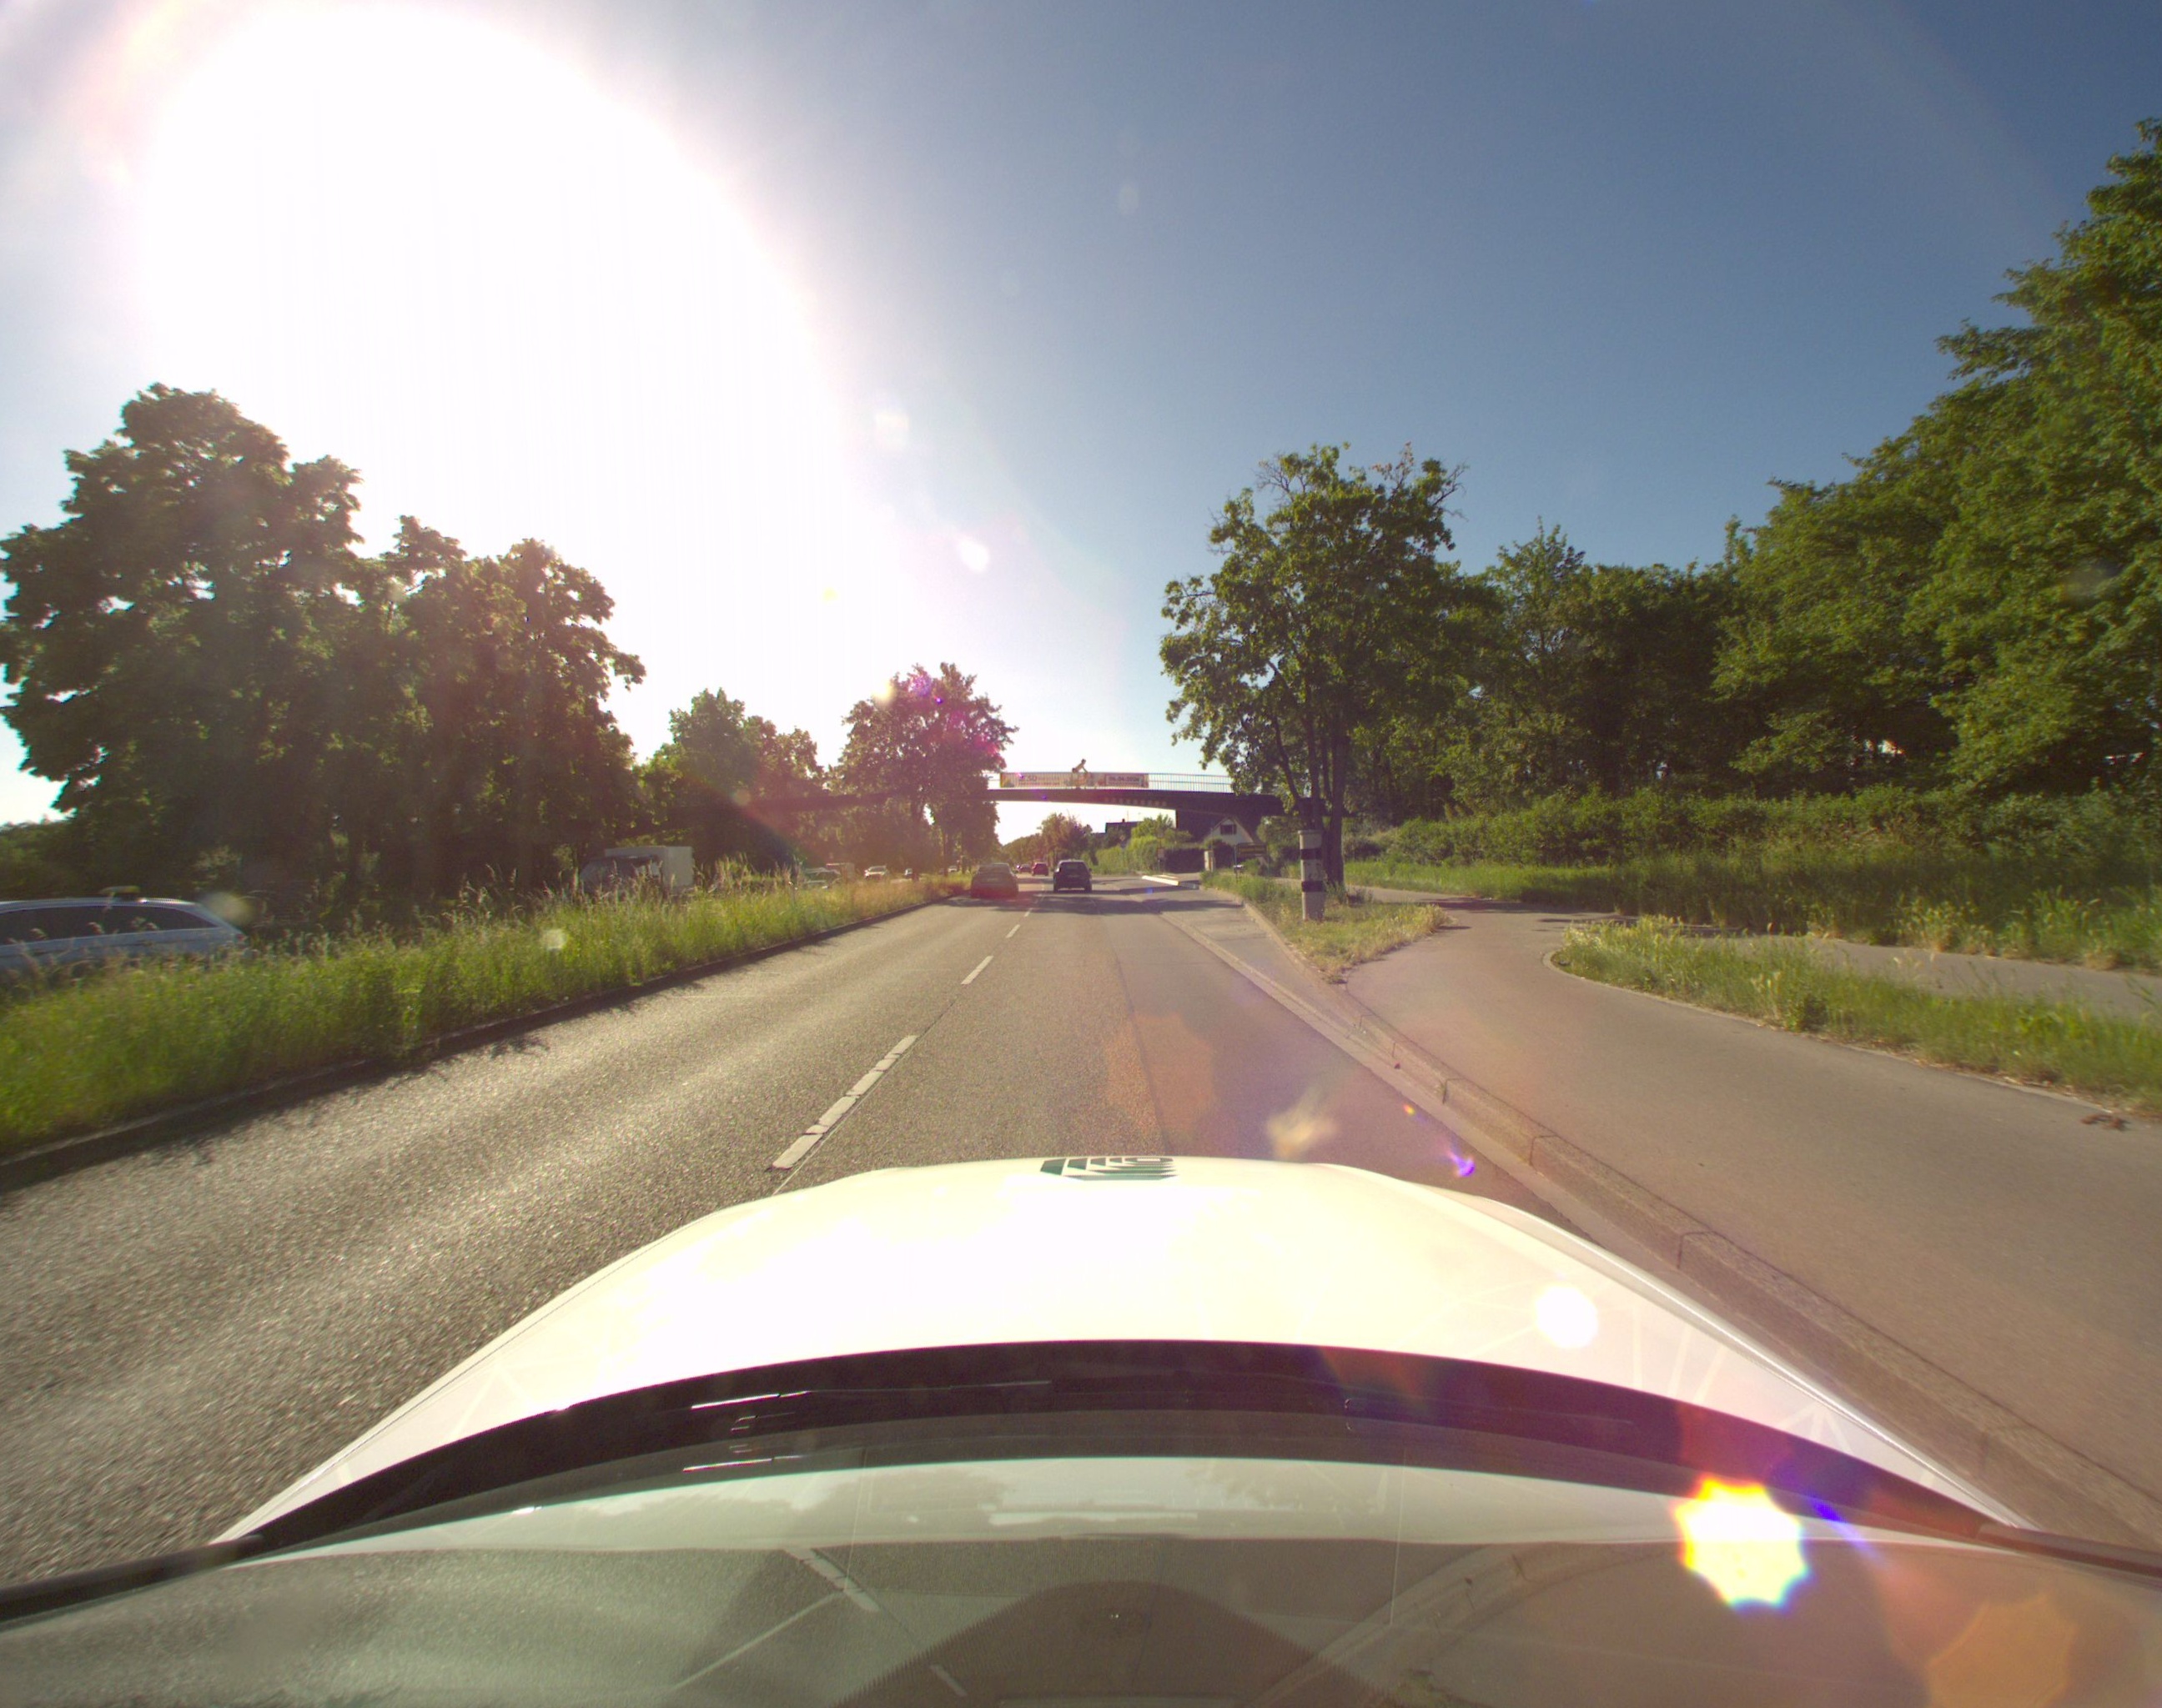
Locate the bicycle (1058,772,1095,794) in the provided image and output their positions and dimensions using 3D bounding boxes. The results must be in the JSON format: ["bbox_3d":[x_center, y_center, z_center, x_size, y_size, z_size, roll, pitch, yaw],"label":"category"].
[{"bbox_3d":[-0.238,-3.864,44.352,1.984,1.107,0.726,0,0,-4],"label":"bicycle"}]

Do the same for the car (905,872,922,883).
[{"bbox_3d":[-22.593,3.149,109.971,1.537,1.431,4.250,-3,0,-4],"label":"car"}]

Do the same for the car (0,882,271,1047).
[{"bbox_3d":[-12.045,1.229,8.299,1.850,1.606,5.575,-3,0,1],"label":"car"}]

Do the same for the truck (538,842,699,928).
[{"bbox_3d":[-15.698,0.964,28.130,2.166,2.512,5.740,-4,0,-1],"label":"truck"}]

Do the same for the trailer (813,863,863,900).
[{"bbox_3d":[-13.435,1.465,45.337,1.558,1.910,4.279,-2,0,-2],"label":"trailer"}]

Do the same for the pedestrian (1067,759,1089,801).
[{"bbox_3d":[-0.160,-4.025,44.389,1.064,2.124,0.995,-2,-1,-4],"label":"pedestrian"}]

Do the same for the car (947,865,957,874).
[{"bbox_3d":[-23.609,2.788,149.103,1.729,1.632,4.187,-3,-1,-7],"label":"car"}]

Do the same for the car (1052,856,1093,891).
[{"bbox_3d":[-0.447,0.931,38.195,1.756,1.559,3.995,0,-1,-3],"label":"car"}]

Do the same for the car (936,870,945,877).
[{"bbox_3d":[-32.723,4.593,189.808,1.806,1.500,4.578,-2,0,-11],"label":"car"}]

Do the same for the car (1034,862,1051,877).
[{"bbox_3d":[-4.338,1.689,92.173,1.741,1.597,4.167,-1,0,-5],"label":"car"}]

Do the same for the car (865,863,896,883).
[{"bbox_3d":[-18.529,1.722,75.340,1.728,1.646,4.895,-4,0,-3],"label":"car"}]

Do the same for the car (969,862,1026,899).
[{"bbox_3d":[-3.492,1.095,34.732,1.989,1.405,3.998,-2,0,-1],"label":"car"}]

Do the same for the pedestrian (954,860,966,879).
[{"bbox_3d":[-11.172,1.390,75.034,0.625,1.696,0.948,-2,-1,24],"label":"pedestrian"}]

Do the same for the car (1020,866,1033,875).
[{"bbox_3d":[-8.756,2.607,131.634,1.896,1.356,3.991,-2,0,-7],"label":"car"}]

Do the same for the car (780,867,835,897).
[{"bbox_3d":[-16.630,1.684,49.724,1.851,1.606,4.365,-3,0,-1],"label":"car"}]

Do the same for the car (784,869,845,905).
[{"bbox_3d":[-13.402,1.620,41.170,1.690,1.582,4.024,-2,0,0],"label":"car"}]
